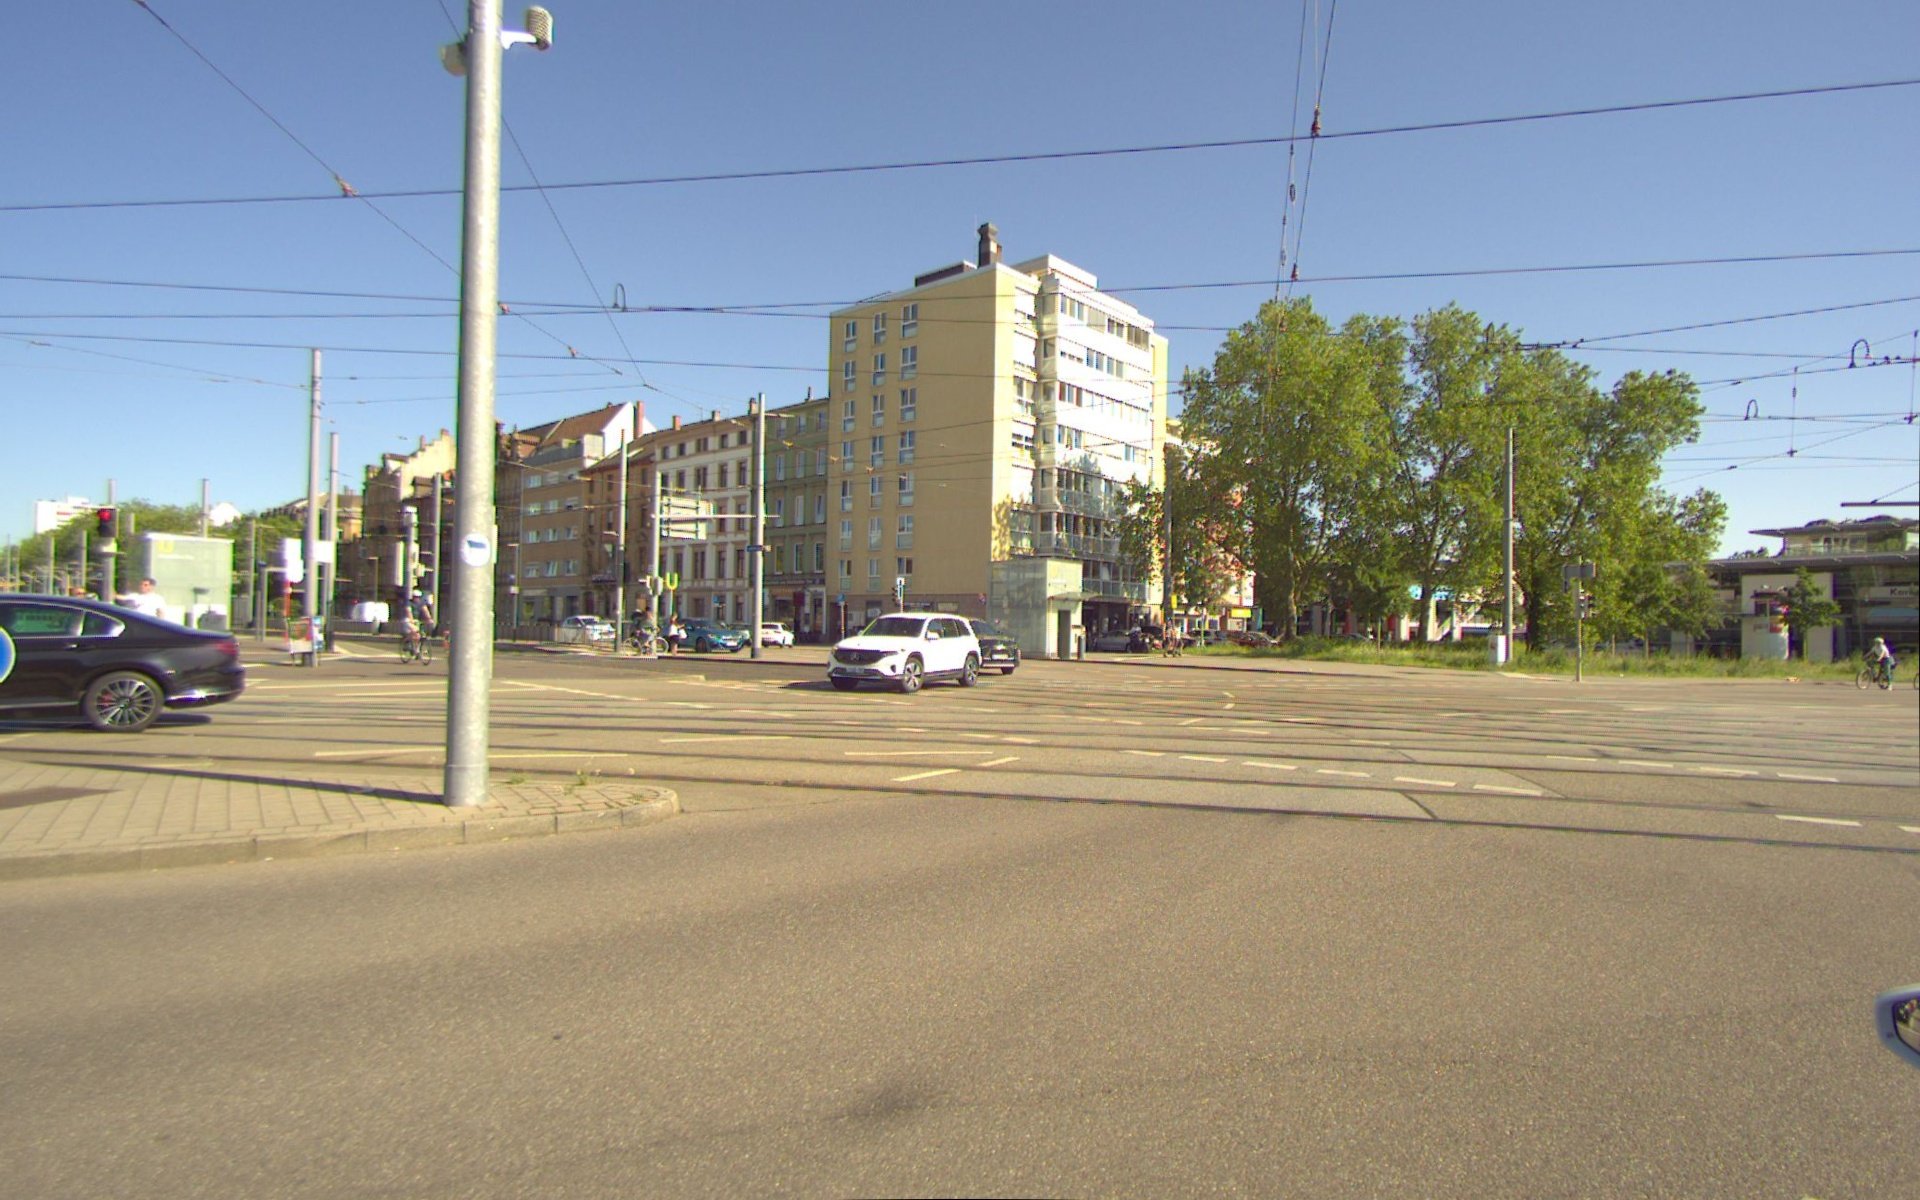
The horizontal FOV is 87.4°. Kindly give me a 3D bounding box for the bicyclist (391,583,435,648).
[{"bbox_3d":[-14.518,0.408,26.656,0.783,1.697,0.757,0,-1,39],"label":"bicyclist"}]

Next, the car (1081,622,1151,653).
[{"bbox_3d":[9.813,2.358,63.241,3.936,1.830,1.993,0,-1,37],"label":"car"}]

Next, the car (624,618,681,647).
[{"bbox_3d":[-20.419,2.156,66.628,3.946,1.687,1.988,2,0,45],"label":"car"}]

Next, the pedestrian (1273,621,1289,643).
[{"bbox_3d":[30.402,3.033,95.053,1.089,2.040,1.175,2,0,33],"label":"pedestrian"}]

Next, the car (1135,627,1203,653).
[{"bbox_3d":[13.779,2.623,66.273,3.936,1.585,1.993,0,-1,37],"label":"car"}]

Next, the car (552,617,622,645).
[{"bbox_3d":[-20.243,1.669,54.470,4.537,1.346,1.786,0,-2,45],"label":"car"}]

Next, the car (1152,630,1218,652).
[{"bbox_3d":[15.374,2.781,68.537,3.936,1.407,1.993,0,-1,37],"label":"car"}]

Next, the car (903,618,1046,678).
[{"bbox_3d":[0.344,1.397,30.045,2.024,1.598,4.587,3,-2,-34],"label":"car"}]

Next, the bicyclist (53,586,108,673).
[{"bbox_3d":[-16.241,0.535,18.570,0.570,1.549,0.948,2,0,-32],"label":"bicyclist"}]

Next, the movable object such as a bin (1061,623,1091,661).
[{"bbox_3d":[5.338,1.916,46.090,0.976,1.656,0.933,2,0,41],"label":"movable object such as a bin"}]

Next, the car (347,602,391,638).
[{"bbox_3d":[-55.688,1.842,94.610,4.847,3.148,1.991,2,0,40],"label":"car"}]

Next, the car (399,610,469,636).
[{"bbox_3d":[-29.440,1.263,56.230,3.935,1.378,1.907,0,-1,36],"label":"car"}]

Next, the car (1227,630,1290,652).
[{"bbox_3d":[21.549,2.945,72.495,3.936,1.519,1.939,0,-1,37],"label":"car"}]

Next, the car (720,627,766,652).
[{"bbox_3d":[-13.417,2.420,62.263,1.781,1.378,4.001,2,0,3],"label":"car"}]

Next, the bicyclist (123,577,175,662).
[{"bbox_3d":[-15.500,0.375,19.218,0.589,1.570,0.988,2,-1,-31],"label":"bicyclist"}]

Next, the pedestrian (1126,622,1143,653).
[{"bbox_3d":[9.544,2.066,55.025,0.745,1.643,0.653,2,0,22],"label":"pedestrian"}]

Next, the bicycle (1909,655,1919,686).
[{"bbox_3d":[33.822,2.440,34.833,1.627,1.088,0.538,1,-2,-16],"label":"bicycle"}]

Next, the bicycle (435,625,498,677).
[{"bbox_3d":[-11.317,1.154,23.022,1.698,1.120,0.613,0,-2,39],"label":"bicycle"}]

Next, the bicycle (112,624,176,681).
[{"bbox_3d":[-15.616,0.984,19.270,0.609,1.003,2.455,2,-2,-32],"label":"bicycle"}]

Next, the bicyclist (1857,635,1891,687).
[{"bbox_3d":[31.844,2.123,34.995,0.666,1.766,0.574,0,1,-15],"label":"bicyclist"}]

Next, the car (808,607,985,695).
[{"bbox_3d":[-1.222,1.062,21.729,1.965,1.662,4.563,1,-2,23],"label":"car"}]

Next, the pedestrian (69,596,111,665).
[{"bbox_3d":[-21.227,0.735,24.527,0.601,1.629,0.709,2,0,-30],"label":"pedestrian"}]

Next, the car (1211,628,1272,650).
[{"bbox_3d":[21.187,2.939,75.635,3.936,1.519,1.993,0,-1,37],"label":"car"}]

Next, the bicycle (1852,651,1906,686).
[{"bbox_3d":[32.066,2.372,35.050,1.725,1.199,0.538,1,-2,-16],"label":"bicycle"}]

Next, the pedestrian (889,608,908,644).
[{"bbox_3d":[-3.050,1.274,49.745,0.609,1.728,0.709,2,0,-37],"label":"pedestrian"}]

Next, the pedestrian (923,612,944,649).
[{"bbox_3d":[-1.281,1.473,48.658,0.710,1.728,0.608,2,0,-38],"label":"pedestrian"}]

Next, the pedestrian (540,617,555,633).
[{"bbox_3d":[-39.508,2.384,96.193,1.083,1.401,0.941,2,0,43],"label":"pedestrian"}]

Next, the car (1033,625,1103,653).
[{"bbox_3d":[6.483,2.322,60.327,3.945,1.519,1.733,0,-1,44],"label":"car"}]

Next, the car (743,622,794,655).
[{"bbox_3d":[-11.298,2.241,59.496,1.960,1.775,4.001,2,0,3],"label":"car"}]

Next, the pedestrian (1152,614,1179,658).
[{"bbox_3d":[9.825,1.705,48.069,0.863,2.057,0.846,2,0,-42],"label":"pedestrian"}]

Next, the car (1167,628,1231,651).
[{"bbox_3d":[16.732,2.745,70.309,3.936,1.519,1.993,0,-1,37],"label":"car"}]

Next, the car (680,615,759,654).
[{"bbox_3d":[-10.086,1.434,42.457,1.875,1.477,4.603,2,-1,5],"label":"car"}]

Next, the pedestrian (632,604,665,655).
[{"bbox_3d":[-12.065,1.134,38.894,0.981,1.929,0.986,2,0,-29],"label":"pedestrian"}]

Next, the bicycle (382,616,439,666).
[{"bbox_3d":[-14.631,1.079,26.739,1.934,1.273,0.613,0,-2,39],"label":"bicycle"}]

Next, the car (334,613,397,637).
[{"bbox_3d":[-36.504,1.525,61.617,3.935,1.378,1.907,0,-1,36],"label":"car"}]

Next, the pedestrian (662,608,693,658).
[{"bbox_3d":[-10.635,1.222,37.747,0.979,1.823,0.989,2,0,-21],"label":"pedestrian"}]

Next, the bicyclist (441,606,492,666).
[{"bbox_3d":[-11.315,0.819,23.031,0.783,1.340,0.757,0,-2,39],"label":"bicyclist"}]

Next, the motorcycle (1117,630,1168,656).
[{"bbox_3d":[9.606,2.231,52.983,1.272,1.193,2.954,2,0,-22],"label":"motorcycle"}]

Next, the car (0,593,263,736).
[{"bbox_3d":[-10.242,0.645,10.732,4.444,1.435,1.831,2,-1,-40],"label":"car"}]

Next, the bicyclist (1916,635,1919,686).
[{"bbox_3d":[33.641,2.093,34.760,0.591,1.766,0.574,0,1,-16],"label":"bicyclist"}]

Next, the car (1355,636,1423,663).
[{"bbox_3d":[29.289,3.388,68.666,1.982,1.652,3.817,4,-3,-37],"label":"car"}]

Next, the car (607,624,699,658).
[{"bbox_3d":[-13.608,1.791,44.458,3.935,1.378,1.907,0,-1,36],"label":"car"}]

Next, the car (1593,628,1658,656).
[{"bbox_3d":[54.903,3.464,82.903,1.981,2.040,3.960,2,0,-35],"label":"car"}]

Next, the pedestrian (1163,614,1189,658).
[{"bbox_3d":[10.476,1.733,48.669,0.863,2.057,0.846,2,0,-42],"label":"pedestrian"}]

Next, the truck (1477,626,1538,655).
[{"bbox_3d":[47.464,3.483,87.174,1.976,2.250,4.183,2,0,-29],"label":"truck"}]
